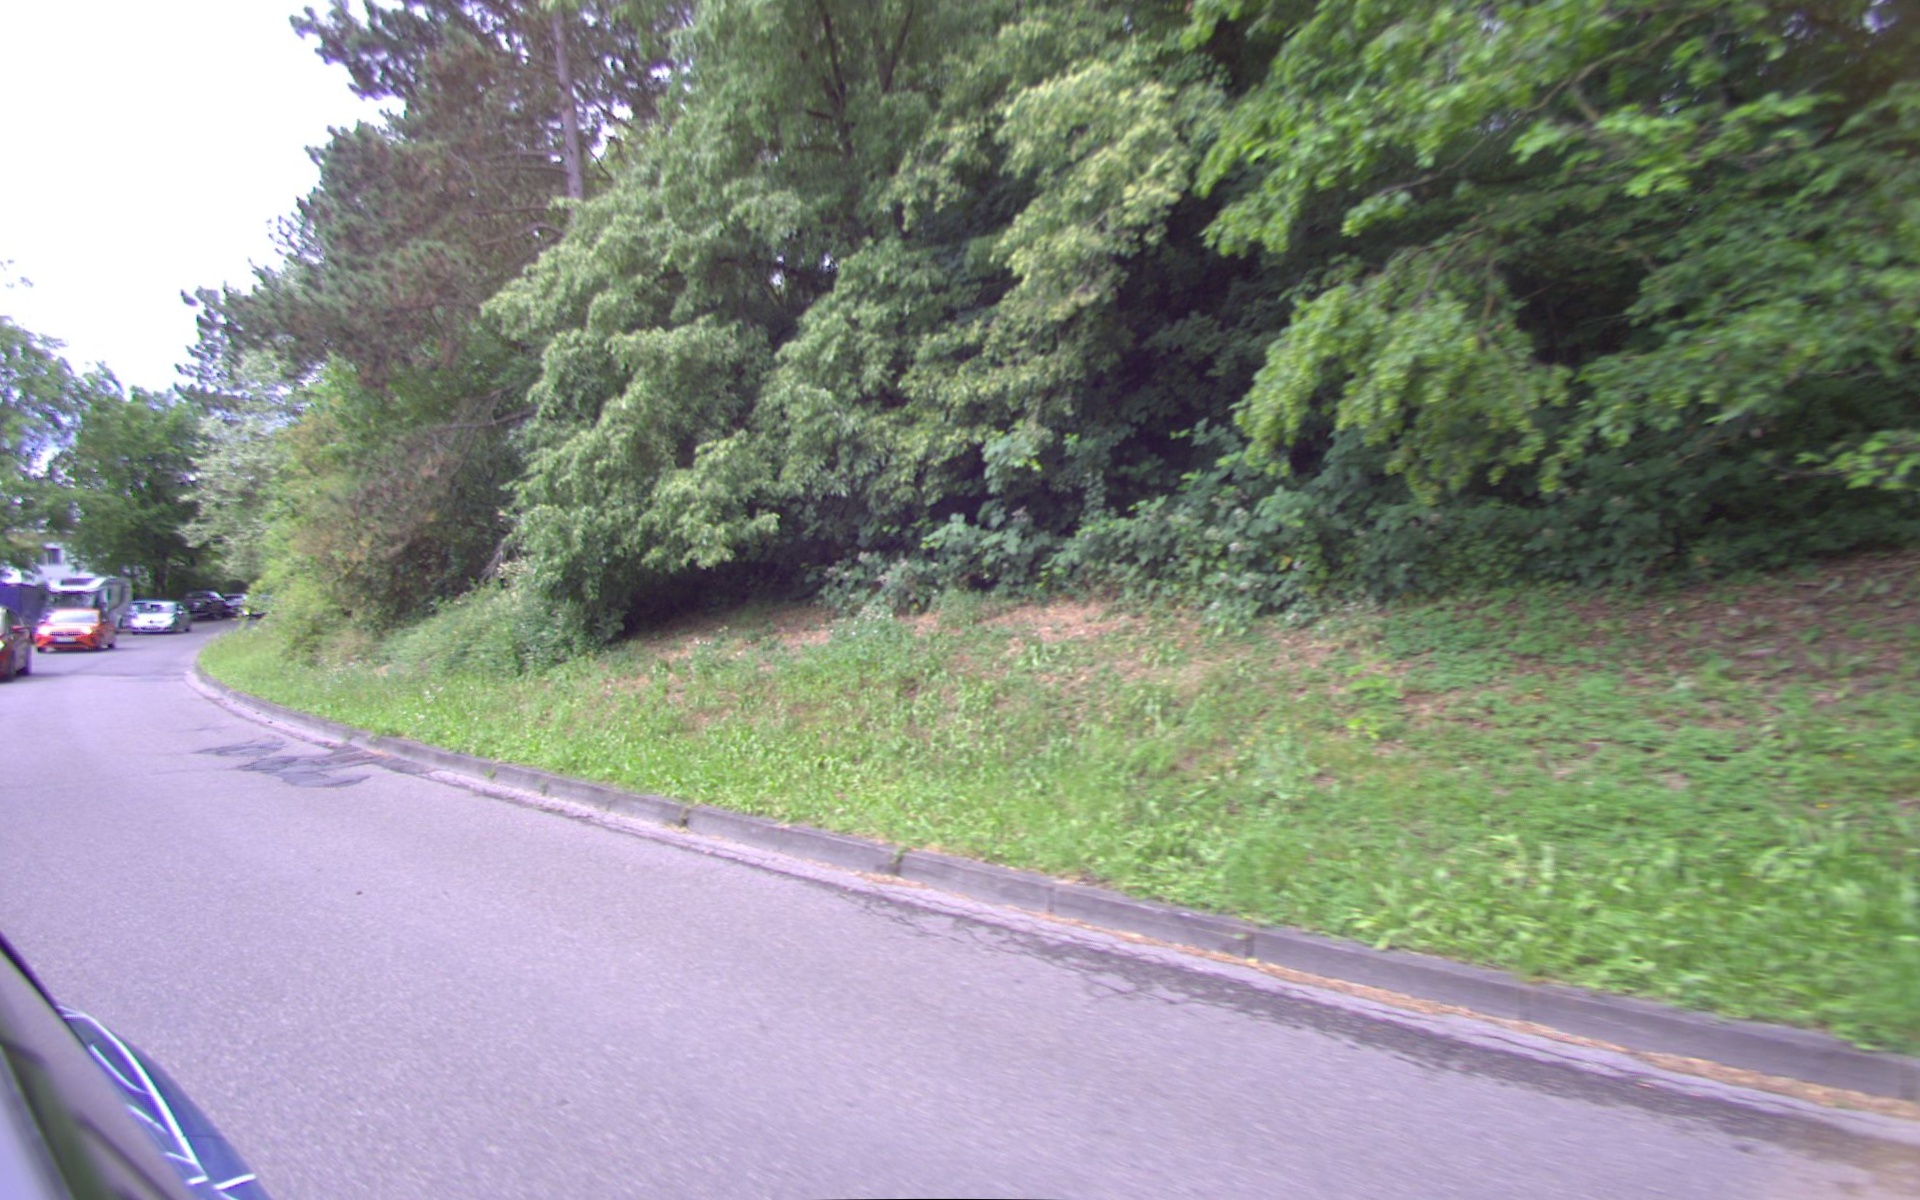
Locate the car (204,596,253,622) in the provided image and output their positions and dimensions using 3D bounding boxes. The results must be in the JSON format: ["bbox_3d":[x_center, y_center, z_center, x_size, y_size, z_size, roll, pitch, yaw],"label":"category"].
[{"bbox_3d":[-52.687,0.610,72.995,1.815,1.697,4.616,-1,1,-22],"label":"car"}]

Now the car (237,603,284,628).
[{"bbox_3d":[-47.967,1.014,69.458,1.739,1.529,4.013,-1,1,-21],"label":"car"}]

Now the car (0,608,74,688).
[{"bbox_3d":[-21.725,1.049,22.347,1.965,1.640,4.641,-1,1,-24],"label":"car"}]

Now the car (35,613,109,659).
[{"bbox_3d":[-30.684,1.196,35.051,1.839,1.460,4.182,1,0,-40],"label":"car"}]

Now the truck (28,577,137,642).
[{"bbox_3d":[-42.566,0.439,49.317,2.271,2.955,7.056,0,0,-26],"label":"truck"}]

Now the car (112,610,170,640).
[{"bbox_3d":[-47.378,1.414,58.611,1.671,1.559,3.781,-1,1,-24],"label":"car"}]

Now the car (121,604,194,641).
[{"bbox_3d":[-39.926,1.073,50.464,1.891,1.694,4.013,1,0,-24],"label":"car"}]

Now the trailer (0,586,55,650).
[{"bbox_3d":[-37.484,0.743,39.552,2.077,2.380,4.715,1,-3,-29],"label":"trailer"}]

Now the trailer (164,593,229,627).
[{"bbox_3d":[-50.749,0.618,67.403,1.965,1.947,5.914,-1,2,-22],"label":"trailer"}]

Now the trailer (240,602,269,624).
[{"bbox_3d":[-55.345,1.009,79.438,1.354,1.616,2.275,-1,1,-22],"label":"trailer"}]
